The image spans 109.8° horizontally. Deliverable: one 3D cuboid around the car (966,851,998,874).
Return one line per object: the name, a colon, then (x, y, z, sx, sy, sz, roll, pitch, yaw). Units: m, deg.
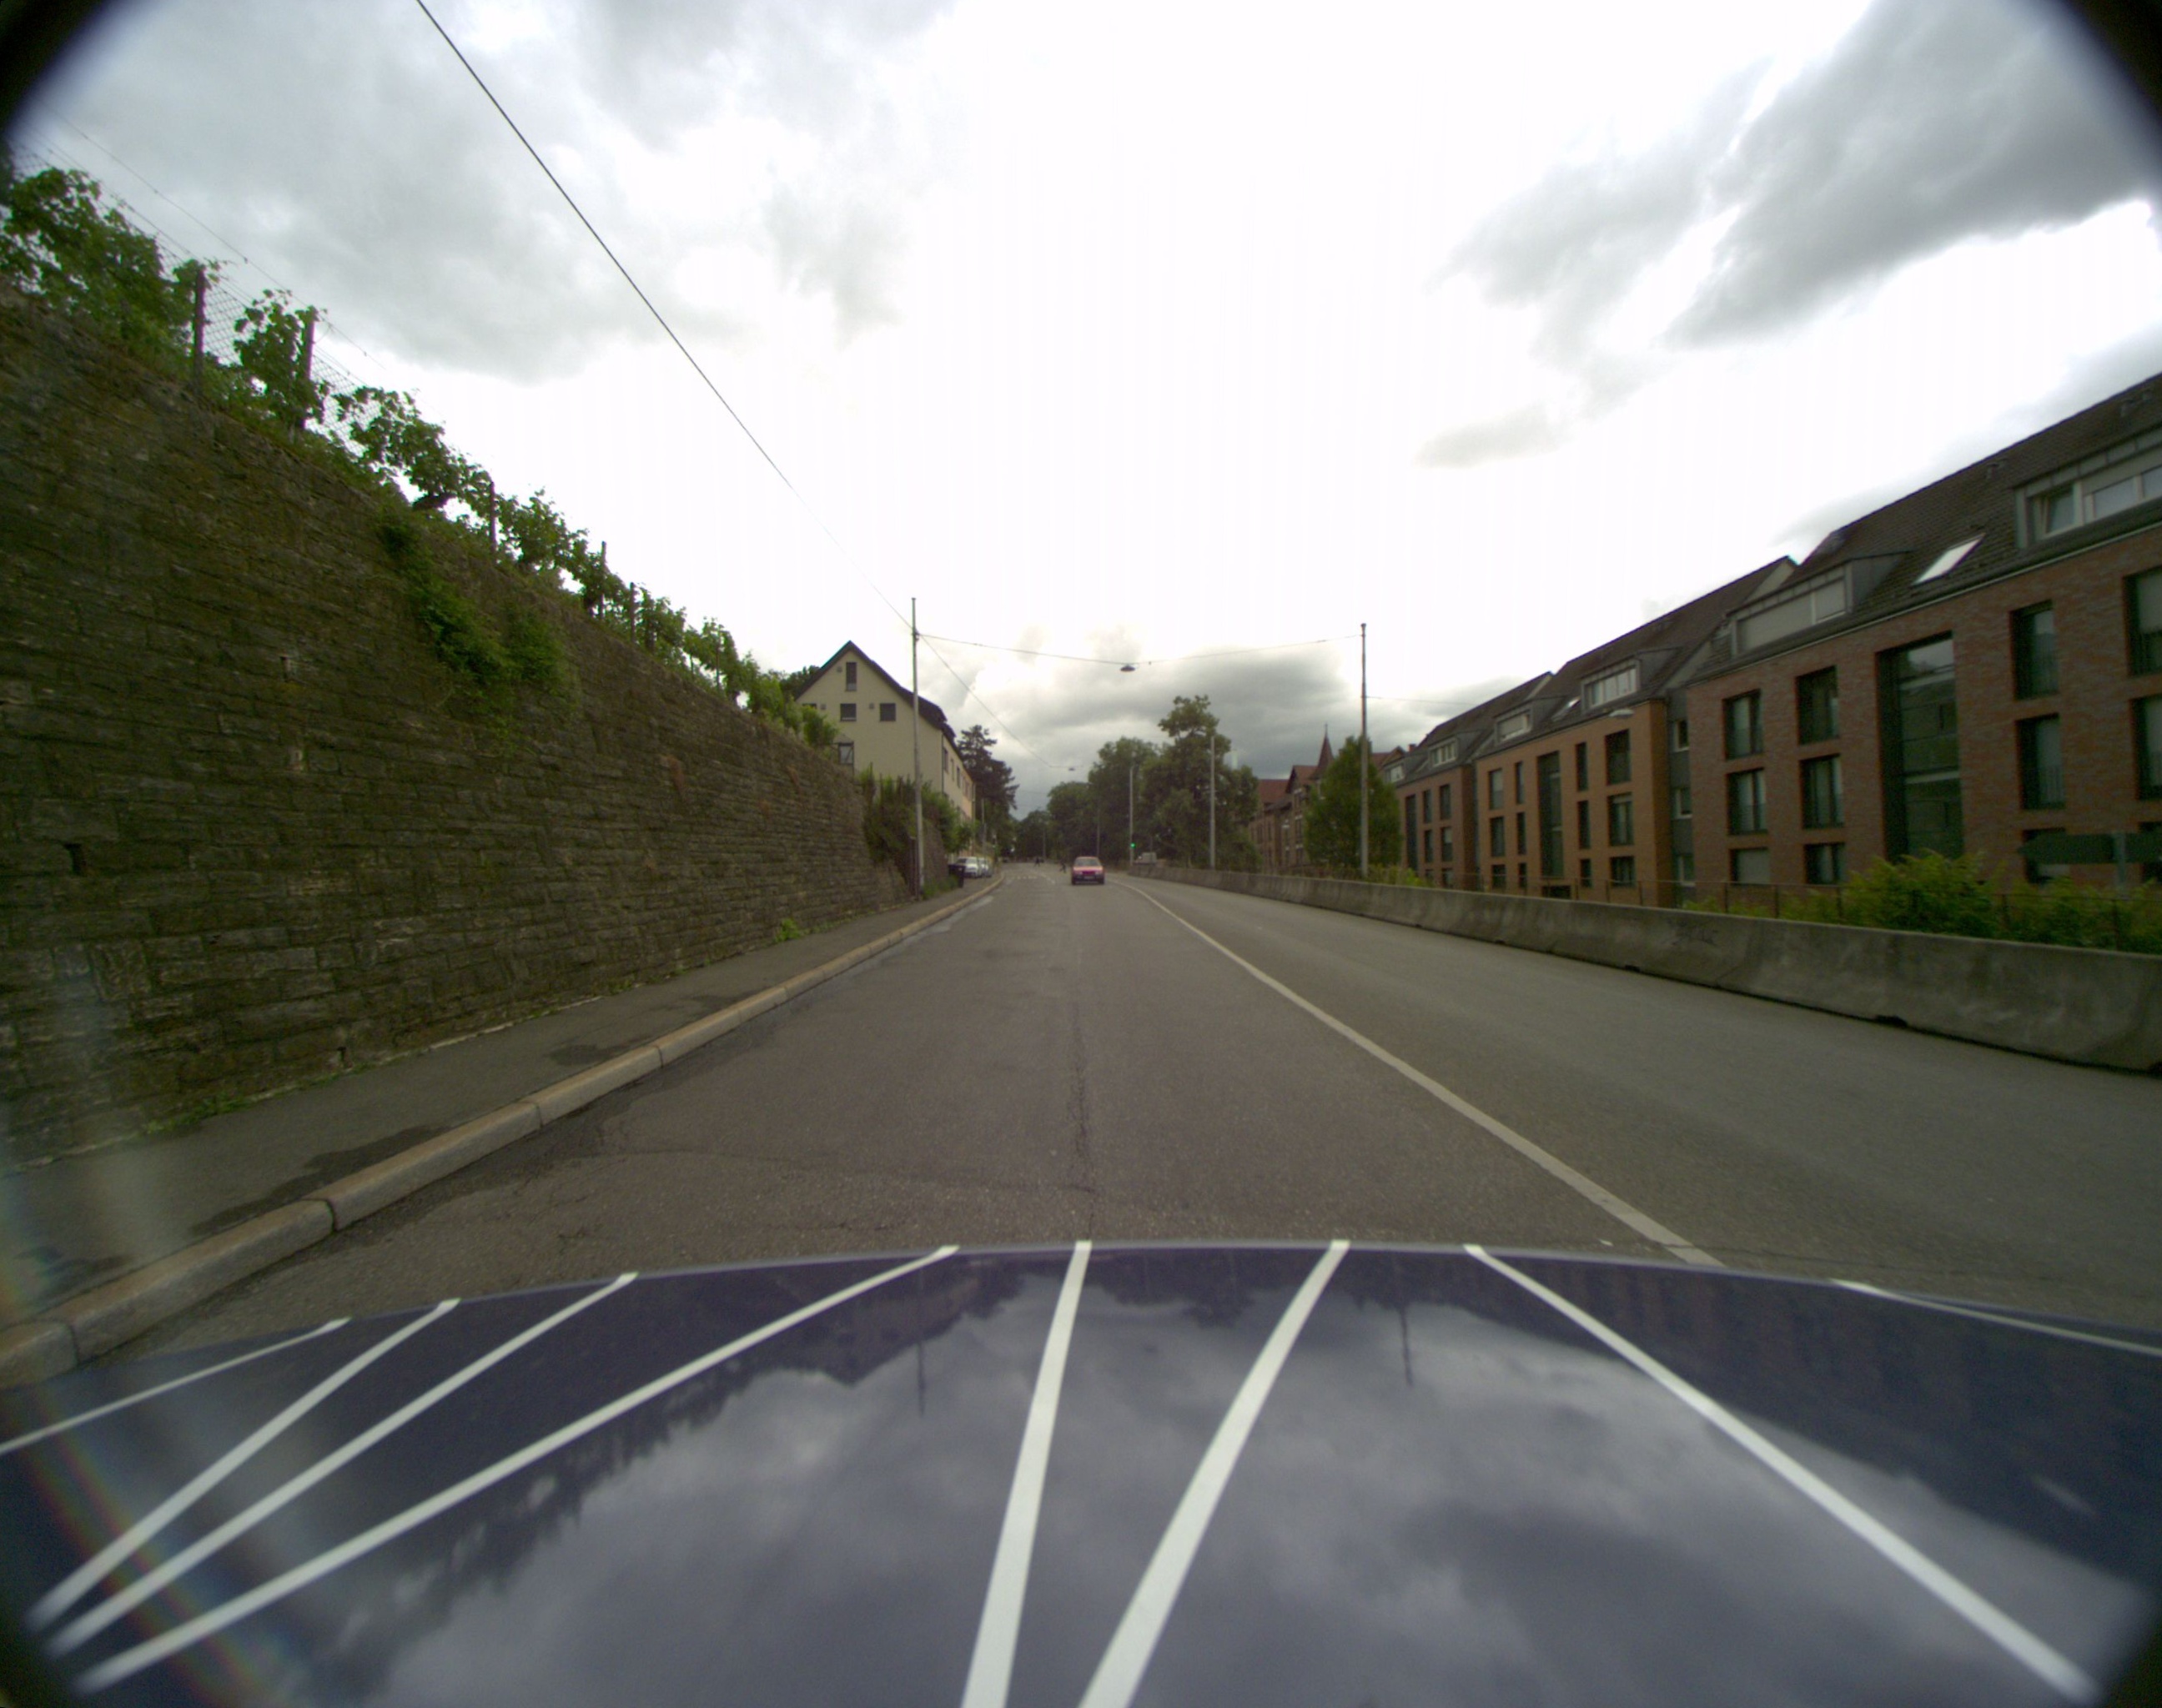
car: (-7.167, 0.583, 55.367, 1.732, 1.566, 4.248, -2, 1, -1)

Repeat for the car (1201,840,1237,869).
car: (13.143, -0.041, 72.604, 2.565, 2.567, 5.735, -2, 1, 3)

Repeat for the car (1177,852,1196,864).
car: (14.220, 0.491, 102.770, 1.998, 1.543, 4.000, -1, 0, 0)

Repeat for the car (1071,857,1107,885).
car: (0.401, 0.876, 40.118, 1.646, 1.429, 3.999, -1, -1, -3)

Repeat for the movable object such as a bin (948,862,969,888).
movable object such as a bin: (-5.459, 0.914, 33.844, 0.811, 1.120, 0.874, -1, 1, -2)

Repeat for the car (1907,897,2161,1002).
car: (20.369, 1.848, 15.798, 1.999, 1.652, 3.999, -1, 0, -2)

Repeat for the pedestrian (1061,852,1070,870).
pedestrian: (-1.414, 0.649, 70.036, 0.735, 1.702, 0.696, -1, 1, 2)

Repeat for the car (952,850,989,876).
car: (-7.285, 0.559, 50.407, 1.799, 1.566, 4.054, -2, 1, -1)
